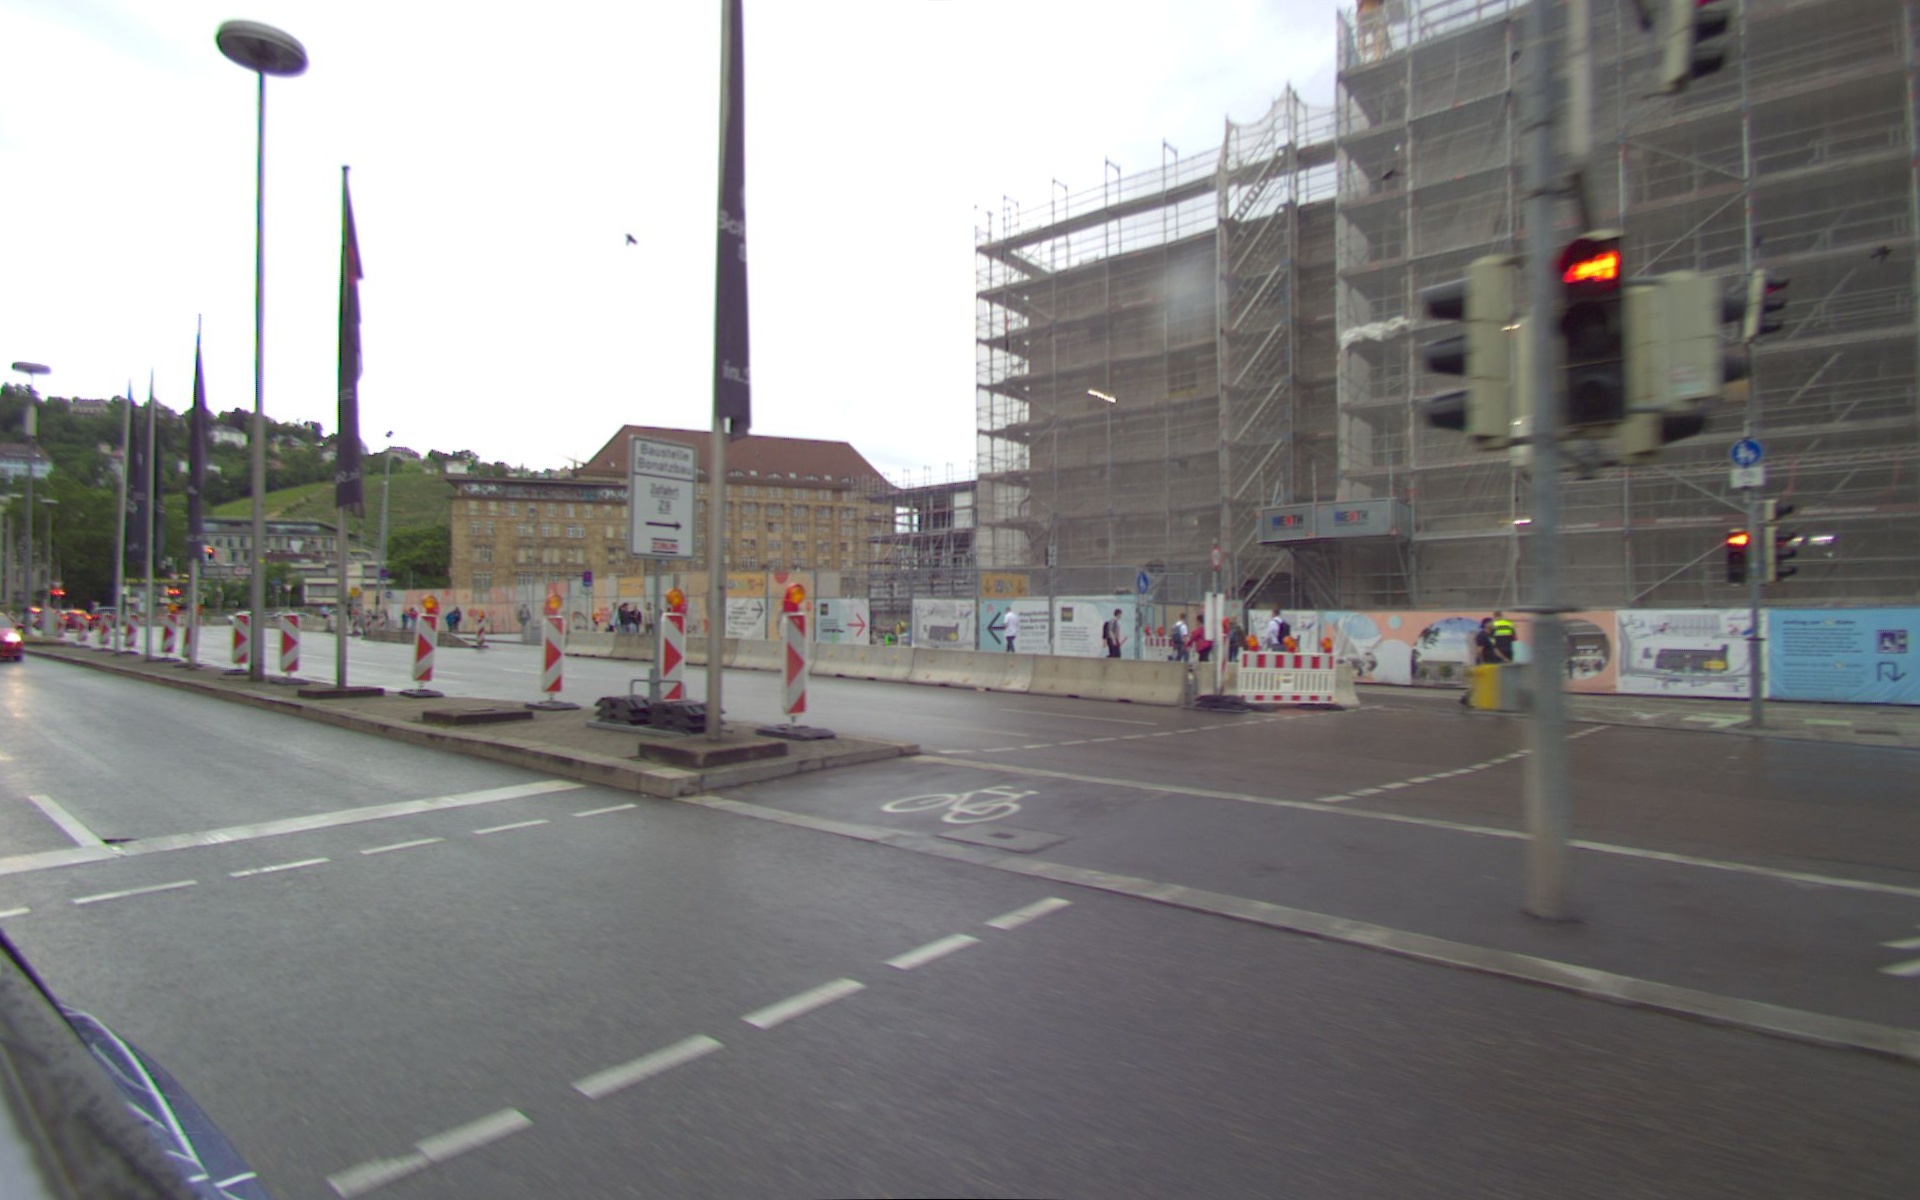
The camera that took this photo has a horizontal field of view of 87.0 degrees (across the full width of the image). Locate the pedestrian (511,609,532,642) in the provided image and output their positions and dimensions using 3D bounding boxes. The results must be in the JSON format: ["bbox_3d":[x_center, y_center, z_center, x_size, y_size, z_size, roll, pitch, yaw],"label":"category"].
[{"bbox_3d":[-22.733,1.301,52.444,0.617,1.697,0.796,-1,-2,44],"label":"pedestrian"}]

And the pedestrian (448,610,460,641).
[{"bbox_3d":[-33.120,1.653,66.215,0.490,2.029,0.535,-1,0,41],"label":"pedestrian"}]

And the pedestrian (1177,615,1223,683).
[{"bbox_3d":[5.762,1.160,24.268,0.709,1.578,0.941,-1,-2,42],"label":"pedestrian"}]

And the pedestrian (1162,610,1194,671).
[{"bbox_3d":[6.105,1.129,28.332,0.655,1.677,0.699,1,-1,-9],"label":"pedestrian"}]

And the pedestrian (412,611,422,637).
[{"bbox_3d":[-34.267,1.499,63.816,0.413,1.628,0.433,-1,-1,41],"label":"pedestrian"}]

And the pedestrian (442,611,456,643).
[{"bbox_3d":[-32.455,1.703,64.241,0.685,2.049,0.585,-1,-1,41],"label":"pedestrian"}]

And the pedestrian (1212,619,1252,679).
[{"bbox_3d":[8.015,1.422,29.793,0.951,1.749,0.701,-1,-1,33],"label":"pedestrian"}]

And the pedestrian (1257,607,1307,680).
[{"bbox_3d":[7.501,0.997,23.607,0.872,1.677,0.746,-1,-2,42],"label":"pedestrian"}]

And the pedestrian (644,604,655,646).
[{"bbox_3d":[-13.215,1.047,43.083,0.346,1.783,0.306,-1,-2,44],"label":"pedestrian"}]

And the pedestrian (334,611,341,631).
[{"bbox_3d":[-49.552,1.683,80.559,0.357,1.628,0.370,-1,-1,41],"label":"pedestrian"}]

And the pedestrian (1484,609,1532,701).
[{"bbox_3d":[11.257,1.108,20.773,0.755,1.826,0.862,-1,-1,36],"label":"pedestrian"}]

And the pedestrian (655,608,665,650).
[{"bbox_3d":[-12.813,1.233,43.216,0.268,1.783,0.310,-1,0,44],"label":"pedestrian"}]

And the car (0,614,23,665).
[{"bbox_3d":[-28.144,1.112,28.816,3.998,1.388,1.724,-1,-1,41],"label":"car"}]

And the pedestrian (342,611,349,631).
[{"bbox_3d":[-49.122,1.669,80.892,0.413,1.628,0.382,-1,-1,41],"label":"pedestrian"}]

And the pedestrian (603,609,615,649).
[{"bbox_3d":[-15.693,1.280,45.247,0.391,1.783,0.363,-1,-2,44],"label":"pedestrian"}]

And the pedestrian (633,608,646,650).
[{"bbox_3d":[-13.583,1.227,42.897,0.365,1.783,0.363,-1,-1,42],"label":"pedestrian"}]

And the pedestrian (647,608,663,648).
[{"bbox_3d":[-13.573,1.240,45.037,0.463,1.768,0.510,-1,0,41],"label":"pedestrian"}]

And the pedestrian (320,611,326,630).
[{"bbox_3d":[-56.617,1.819,89.914,0.323,1.628,0.330,-1,-1,41],"label":"pedestrian"}]

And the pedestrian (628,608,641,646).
[{"bbox_3d":[-14.002,1.145,43.509,0.395,1.633,0.365,0,0,-45],"label":"pedestrian"}]

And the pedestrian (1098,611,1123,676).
[{"bbox_3d":[4.212,1.215,28.274,0.644,1.782,0.524,0,-1,15],"label":"pedestrian"}]

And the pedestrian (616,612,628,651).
[{"bbox_3d":[-14.151,1.323,42.356,0.321,1.628,0.345,-1,-1,42],"label":"pedestrian"}]

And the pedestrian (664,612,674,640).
[{"bbox_3d":[-12.466,1.108,43.304,0.251,1.202,0.390,0,0,-43],"label":"pedestrian"}]

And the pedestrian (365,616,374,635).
[{"bbox_3d":[-44.332,1.909,76.000,0.413,1.425,0.433,-1,-1,41],"label":"pedestrian"}]

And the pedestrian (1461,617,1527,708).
[{"bbox_3d":[10.194,1.168,19.336,0.963,1.694,0.746,-1,-2,41],"label":"pedestrian"}]

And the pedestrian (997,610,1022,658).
[{"bbox_3d":[1.527,1.047,31.184,0.557,1.454,0.529,1,-2,-42],"label":"pedestrian"}]

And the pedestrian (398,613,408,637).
[{"bbox_3d":[-37.186,1.653,67.572,0.413,1.628,0.433,-1,-1,41],"label":"pedestrian"}]
